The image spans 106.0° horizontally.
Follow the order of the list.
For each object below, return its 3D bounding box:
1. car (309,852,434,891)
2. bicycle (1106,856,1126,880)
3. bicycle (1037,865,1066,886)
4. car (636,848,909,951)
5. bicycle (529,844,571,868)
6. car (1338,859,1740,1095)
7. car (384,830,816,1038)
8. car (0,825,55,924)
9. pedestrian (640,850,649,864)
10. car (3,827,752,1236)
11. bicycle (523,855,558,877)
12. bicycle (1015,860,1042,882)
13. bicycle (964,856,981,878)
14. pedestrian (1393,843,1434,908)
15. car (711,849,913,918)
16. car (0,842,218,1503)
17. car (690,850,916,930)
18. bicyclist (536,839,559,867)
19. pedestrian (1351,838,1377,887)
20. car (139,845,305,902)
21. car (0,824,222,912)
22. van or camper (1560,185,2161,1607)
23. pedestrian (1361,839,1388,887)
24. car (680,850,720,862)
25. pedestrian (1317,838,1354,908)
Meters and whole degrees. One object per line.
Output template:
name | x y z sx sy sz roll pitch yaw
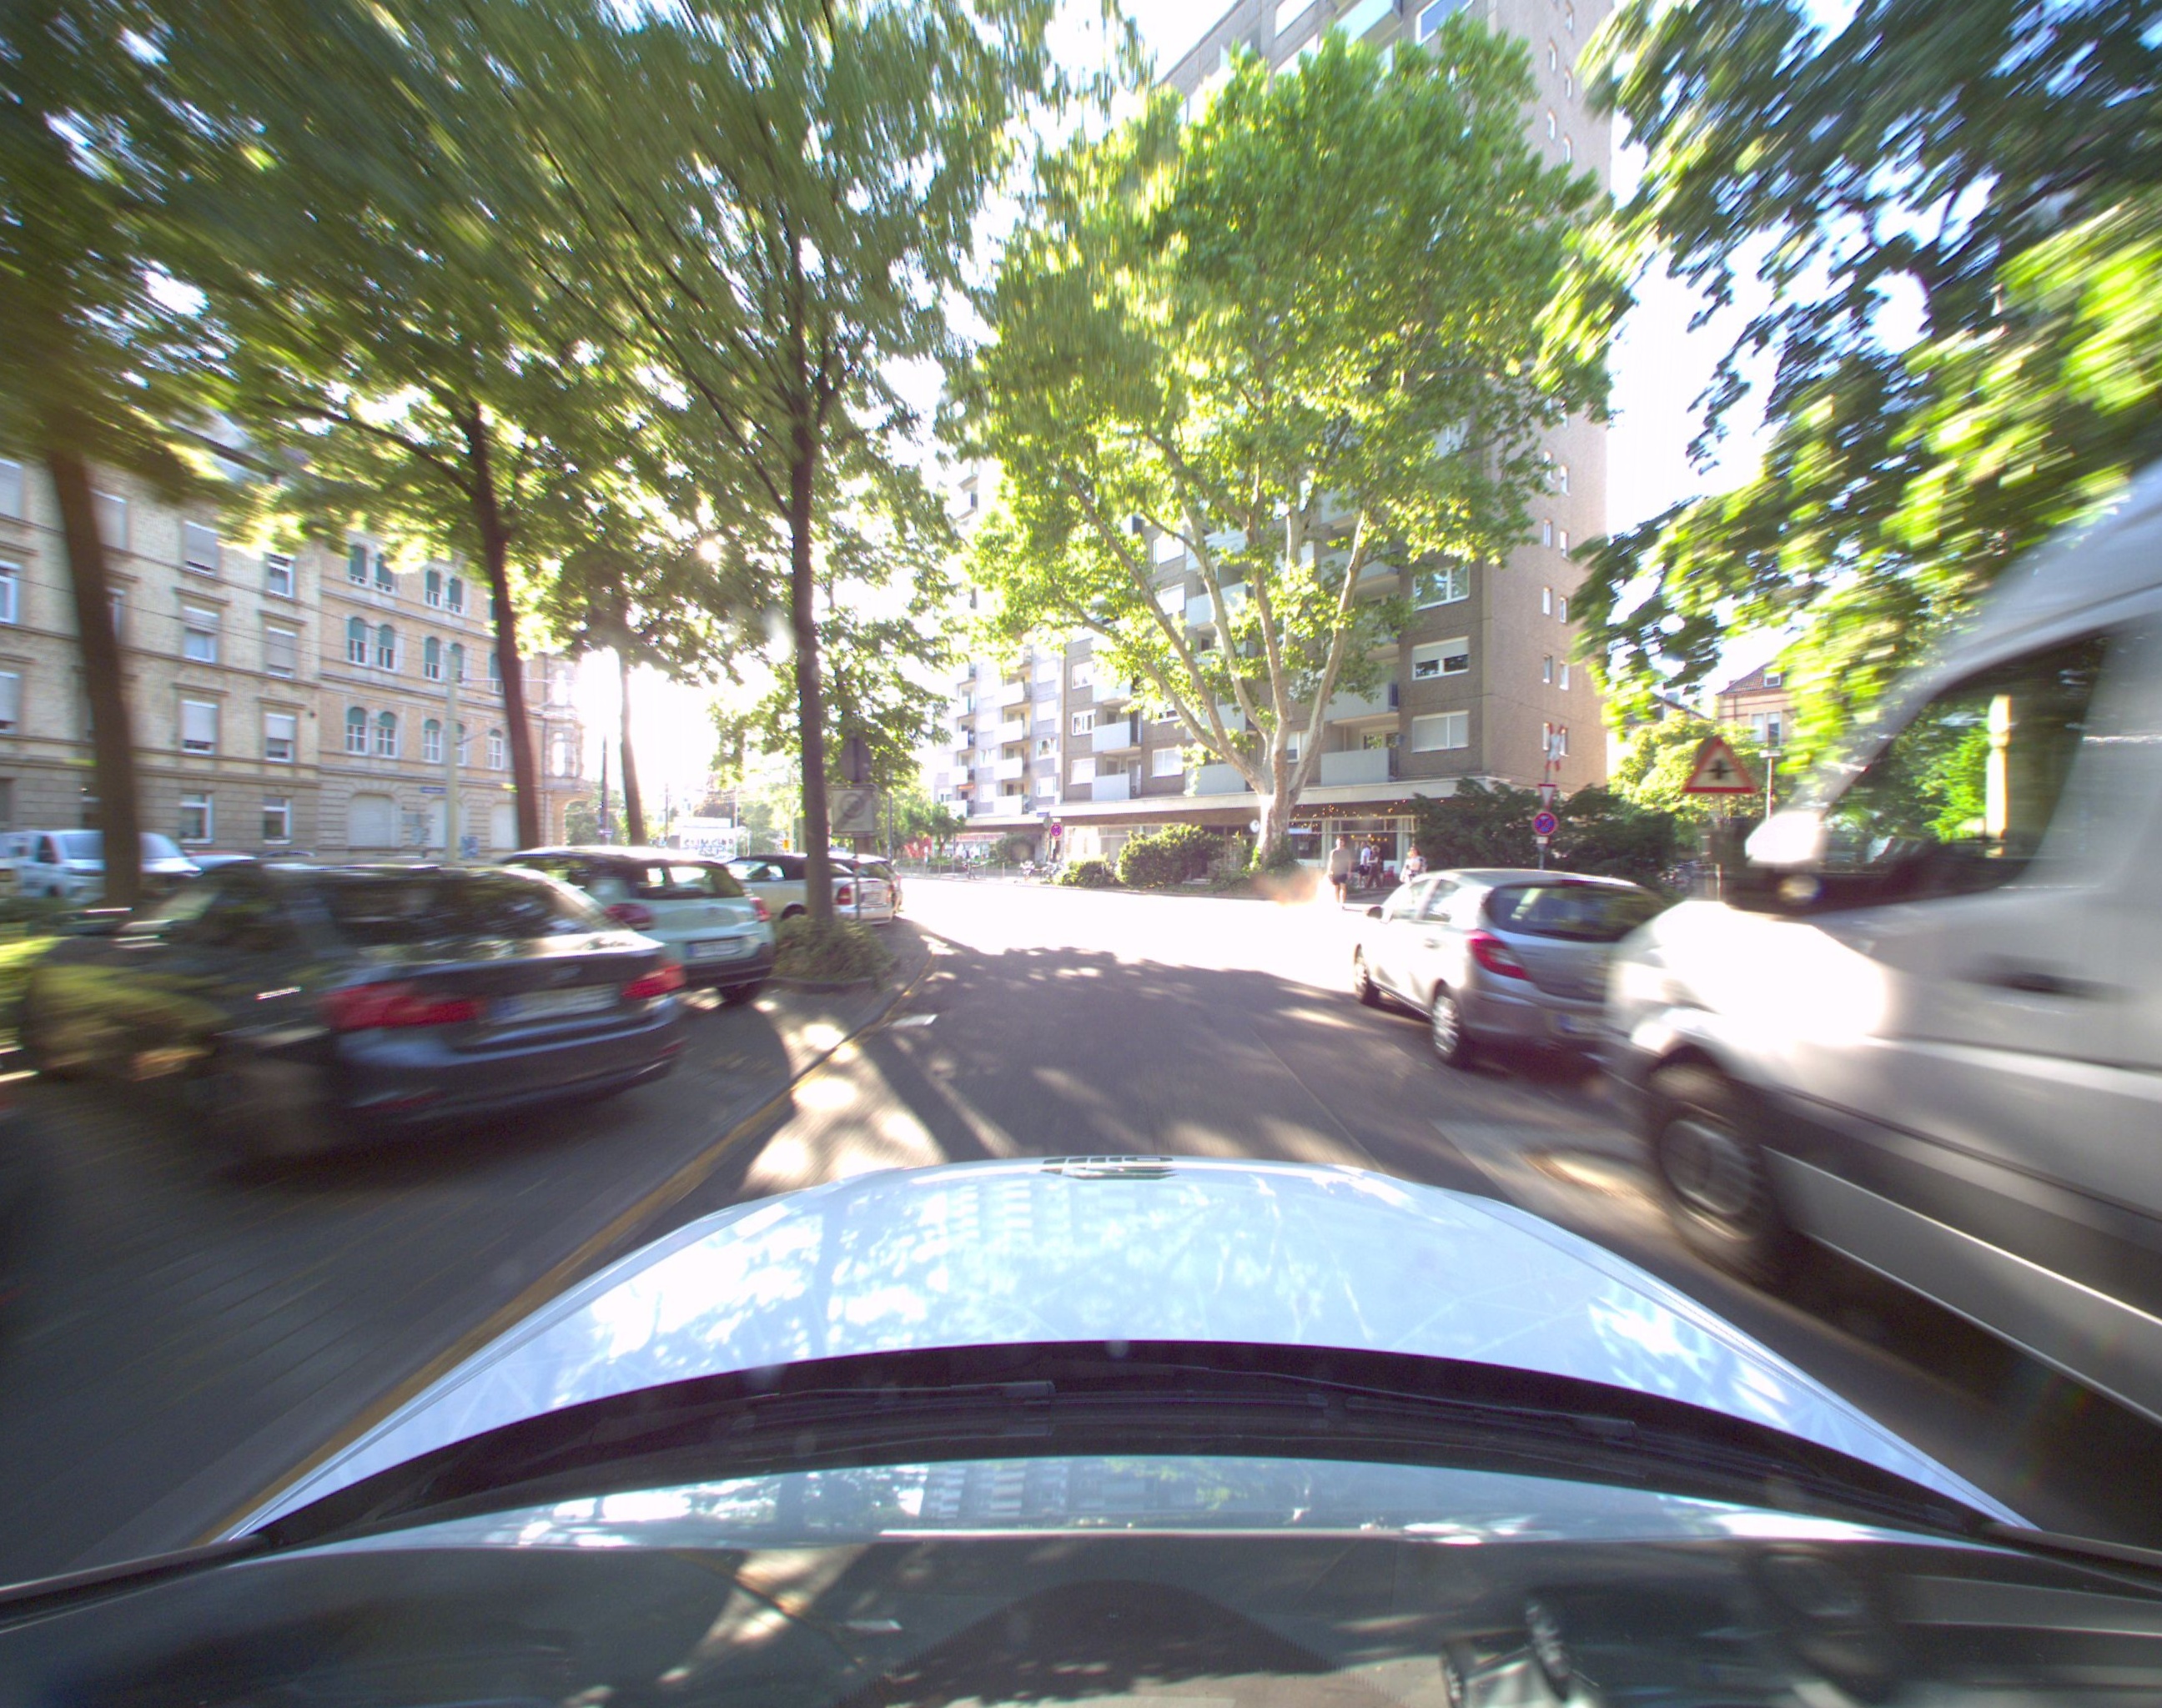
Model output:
car | -29.223 0.666 33.686 1.841 1.429 3.502 3 1 7
bicycle | 1.567 0.625 36.954 0.350 1.038 1.041 0 0 -33
bicycle | -1.388 0.989 37.643 0.546 0.904 1.718 0 0 -33
car | -5.120 0.689 13.651 3.942 1.365 1.782 3 0 17
bicycle | -29.999 0.118 46.022 0.498 1.133 2.131 5 -5 11
car | 3.628 0.817 7.319 1.672 1.446 3.877 2 0 5
car | -4.748 0.609 8.009 3.836 1.494 1.843 3 0 28
car | -21.676 0.373 15.346 4.775 1.764 2.098 0 0 28
pedestrian | -53.698 0.413 100.214 0.933 1.692 0.769 0 0 -38
car | -4.234 0.668 4.856 4.148 1.439 1.842 3 0 26
bicycle | -31.328 0.690 47.219 0.498 1.206 1.797 3 0 10
bicycle | -2.569 0.814 39.744 0.641 1.022 2.072 0 0 -23
bicycle | -6.132 0.735 46.116 0.640 1.226 2.076 0 0 -16
pedestrian | 8.449 0.533 20.710 0.808 1.608 0.717 0 0 6
car | -6.337 0.648 19.245 4.246 1.429 1.782 1 0 18
car | -4.407 0.652 2.134 3.824 1.439 1.842 3 0 26
car | -5.616 0.686 16.580 3.997 1.406 1.782 1 0 16
bicyclist | -29.972 -0.063 45.769 0.588 1.492 0.703 5 -5 8
pedestrian | 10.444 0.319 30.056 0.689 1.773 0.629 0 0 -38
car | -21.461 0.454 20.357 3.589 1.329 1.726 0 0 24
car | -21.915 0.288 18.179 4.998 1.764 2.096 0 0 22
van or camper | 3.082 0.082 0.937 2.074 2.762 5.853 0 0 5
pedestrian | 10.447 0.312 28.965 0.689 1.692 0.637 0 0 -38
car | -49.525 0.278 105.938 4.488 1.487 1.769 0 0 -19
pedestrian | 6.607 0.476 21.163 0.808 1.781 0.717 0 0 6
